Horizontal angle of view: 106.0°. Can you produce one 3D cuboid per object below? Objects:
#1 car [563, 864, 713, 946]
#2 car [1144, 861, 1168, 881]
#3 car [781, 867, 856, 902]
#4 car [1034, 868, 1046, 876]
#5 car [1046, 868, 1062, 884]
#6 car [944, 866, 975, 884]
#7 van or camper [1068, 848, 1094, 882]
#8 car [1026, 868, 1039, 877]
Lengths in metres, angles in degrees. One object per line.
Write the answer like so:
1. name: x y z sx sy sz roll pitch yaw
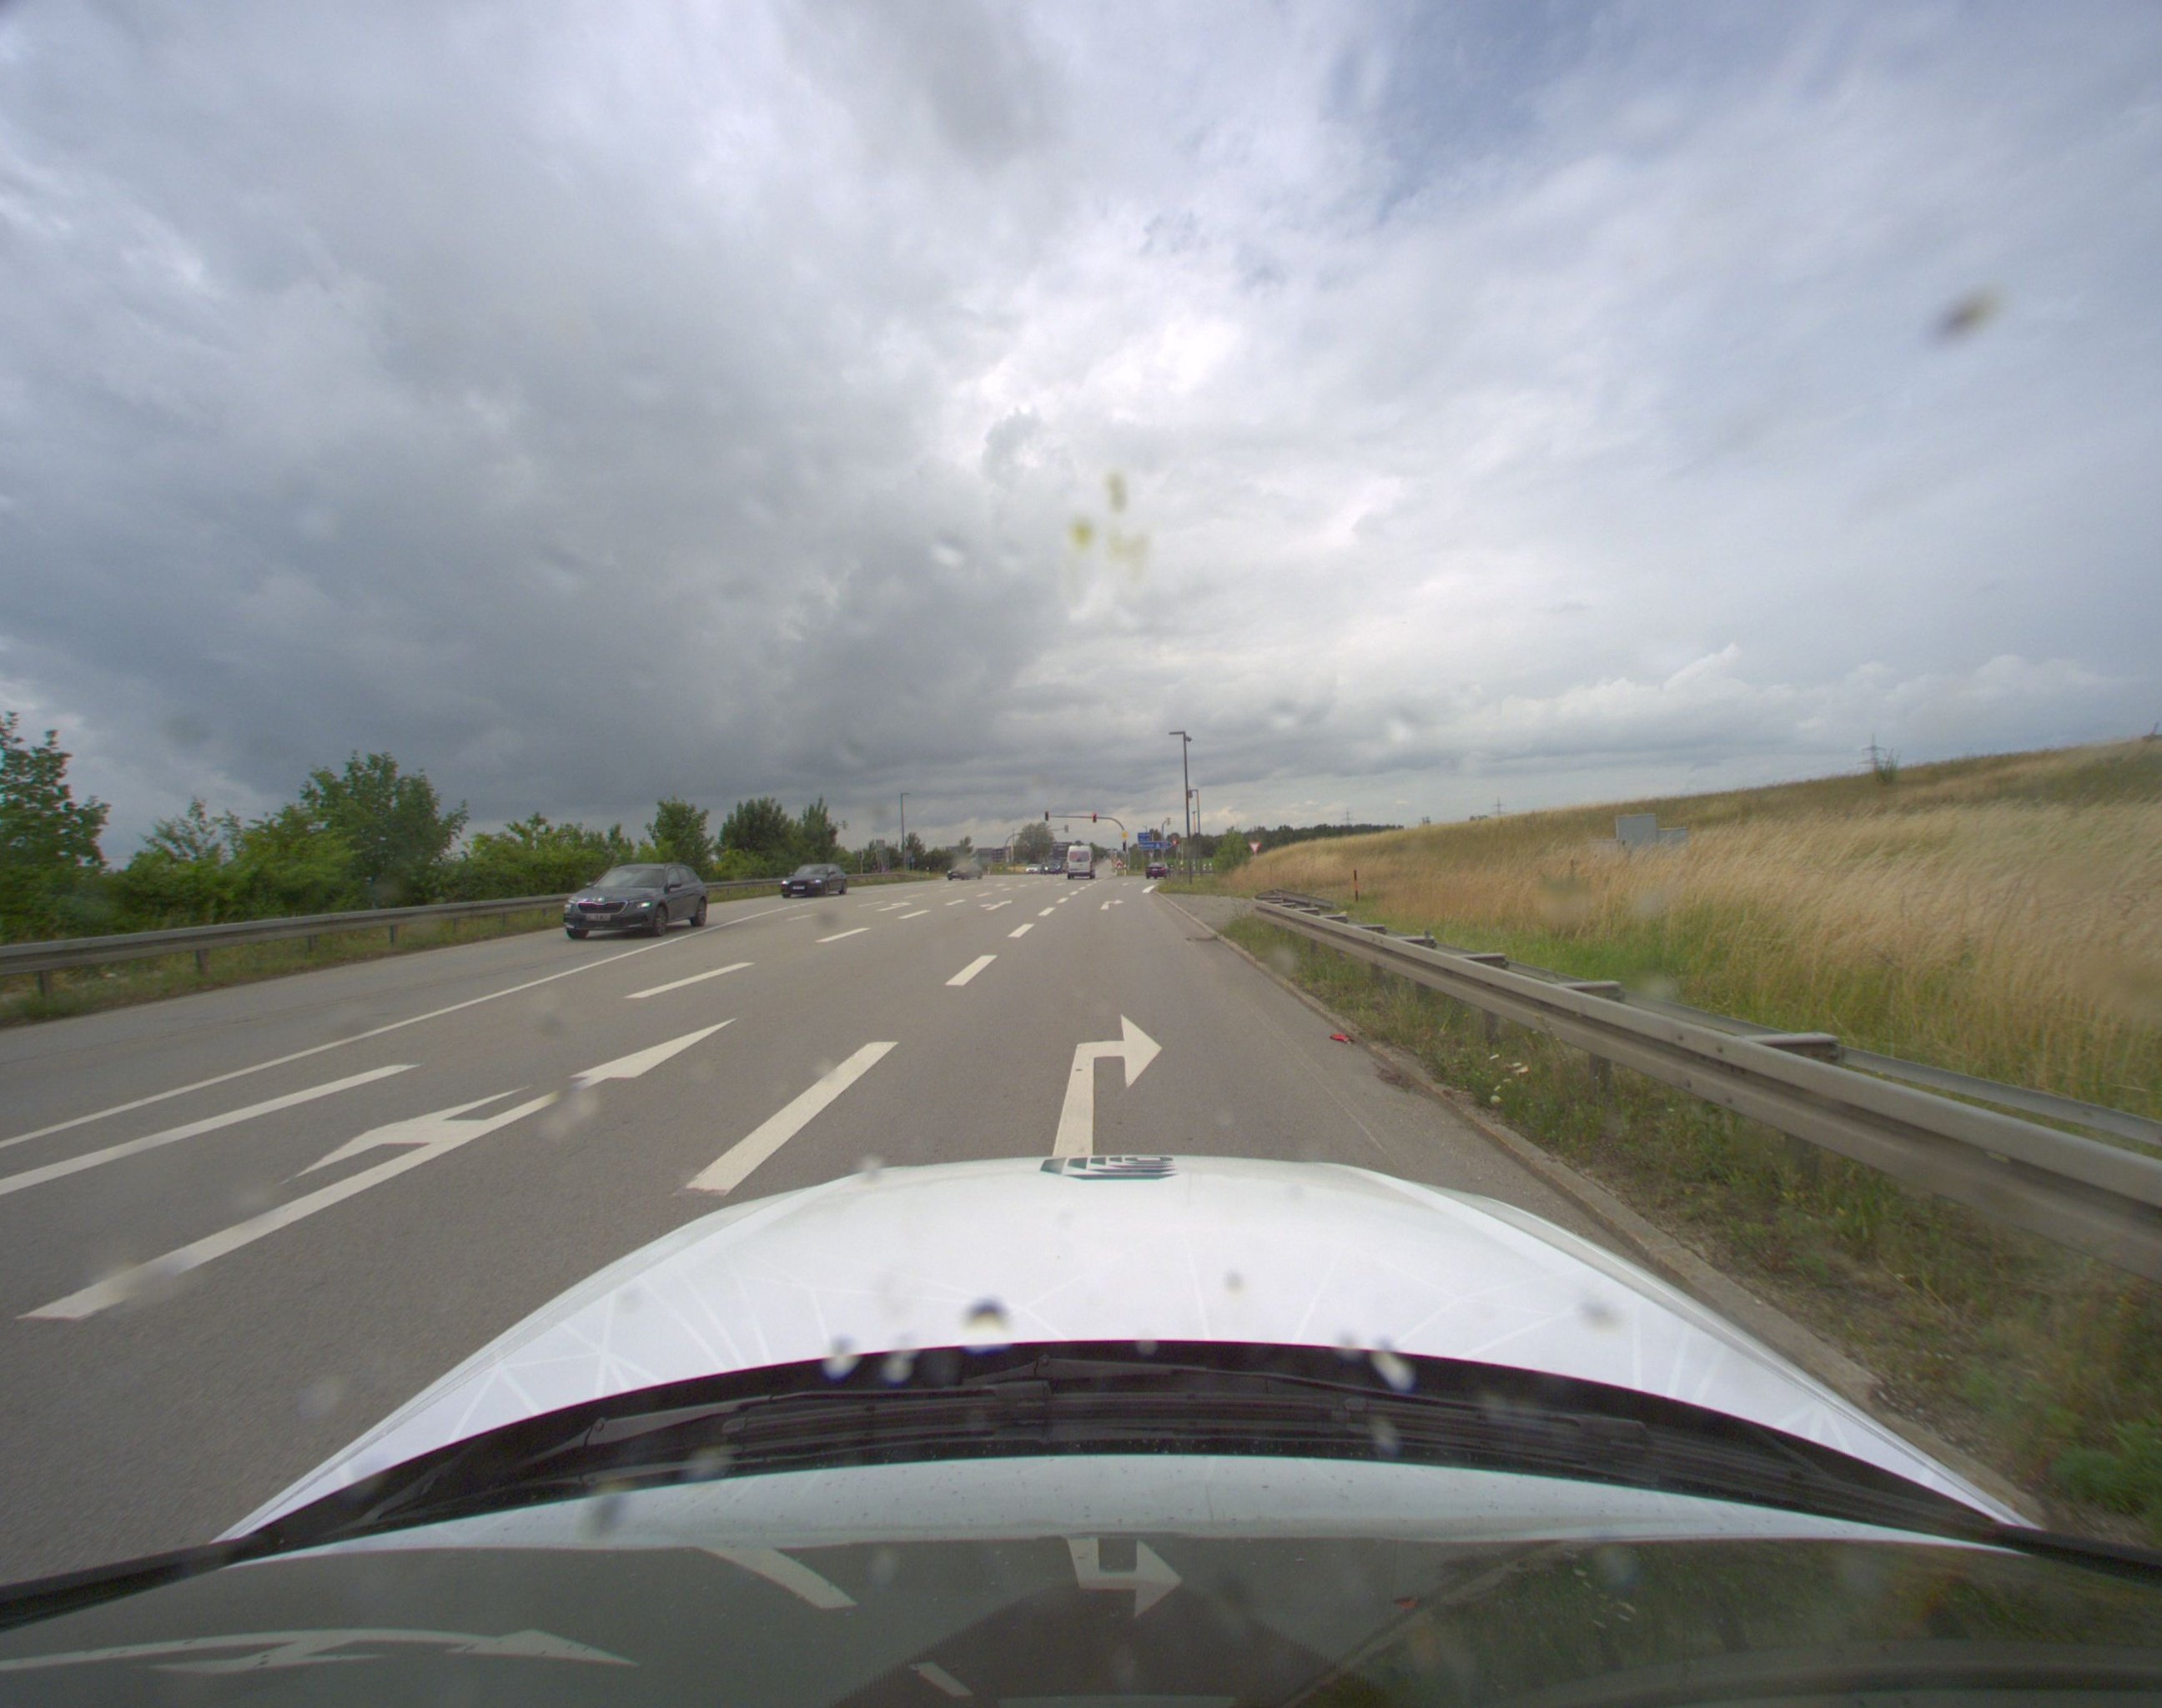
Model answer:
1. car: -9.610 1.027 18.025 1.582 1.557 4.133 -1 -1 -9
2. car: 5.991 1.359 64.894 1.508 1.485 3.626 -2 0 10
3. car: -11.641 1.306 36.413 1.803 1.368 4.784 -1 -1 -1
4. car: -6.569 2.853 129.635 1.474 1.178 3.536 -2 0 3
5. car: -3.315 2.671 98.462 1.636 1.852 3.740 -2 0 -6
6. car: -10.225 1.779 68.928 1.837 1.425 3.911 -2 -1 3
7. van or camper: 0.007 0.875 63.983 1.869 2.581 4.002 -1 0 2
8. car: -7.197 2.738 120.811 1.474 1.282 3.536 -2 0 3
